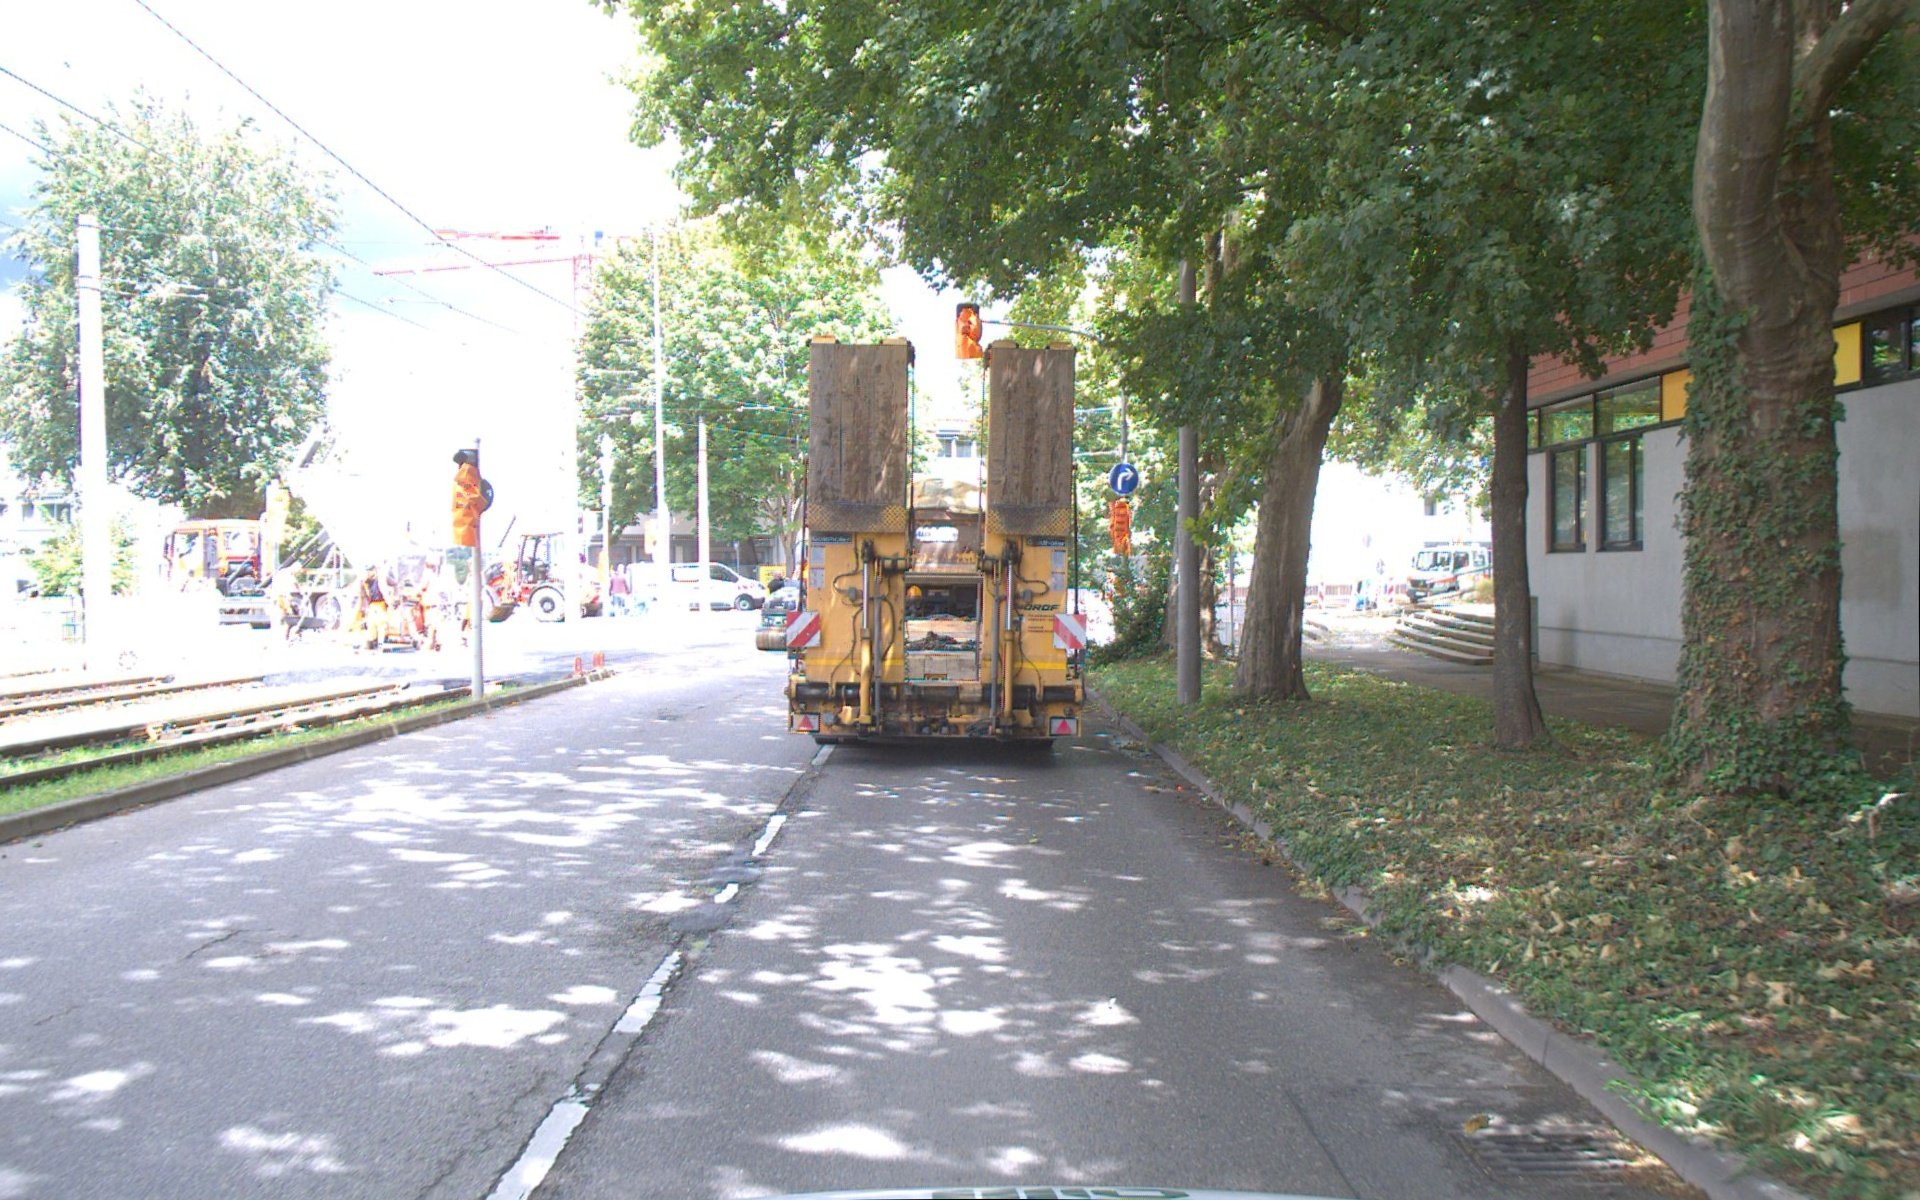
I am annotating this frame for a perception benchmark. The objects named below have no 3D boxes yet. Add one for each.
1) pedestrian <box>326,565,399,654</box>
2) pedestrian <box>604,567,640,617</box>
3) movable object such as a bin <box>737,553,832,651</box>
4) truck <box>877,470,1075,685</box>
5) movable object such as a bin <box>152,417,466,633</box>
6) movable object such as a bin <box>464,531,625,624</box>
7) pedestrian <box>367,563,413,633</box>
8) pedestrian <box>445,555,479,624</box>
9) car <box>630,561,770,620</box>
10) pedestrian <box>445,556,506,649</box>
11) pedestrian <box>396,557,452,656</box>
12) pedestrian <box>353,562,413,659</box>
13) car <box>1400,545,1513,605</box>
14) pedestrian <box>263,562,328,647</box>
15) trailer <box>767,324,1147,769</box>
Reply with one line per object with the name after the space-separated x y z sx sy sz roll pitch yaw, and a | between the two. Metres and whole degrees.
-11.911 0.175 32.957 0.873 1.745 1.102 1 0 45 | pedestrian
-9.891 -0.243 48.385 0.898 1.433 0.752 1 0 -3 | pedestrian
-3.796 0.024 36.090 1.369 2.049 2.558 1 0 10 | movable object such as a bin
0.341 -0.362 28.615 2.927 3.190 7.889 0 0 1 | truck
-17.962 -1.968 45.451 9.021 5.509 2.661 0 0 26 | movable object such as a bin
-12.463 -0.678 49.669 4.281 2.675 2.218 0 0 26 | movable object such as a bin
-13.682 -0.050 39.725 0.869 1.673 0.898 1 0 -8 | pedestrian
-13.924 -0.291 46.234 0.820 1.900 0.885 0 0 -12 | pedestrian
-9.765 -0.345 62.044 5.004 2.139 1.969 0 0 -15 | car
-10.100 0.039 34.498 0.868 1.900 0.836 1 0 28 | pedestrian
-10.443 0.117 32.221 0.876 1.900 0.829 0 0 -29 | pedestrian
-10.834 0.197 31.094 0.868 1.791 0.836 1 0 -5 | pedestrian
20.293 -1.003 67.577 4.191 2.406 2.139 0 0 -28 | car
-13.371 0.077 33.280 0.819 1.673 0.886 1 0 31 | pedestrian
0.101 -0.474 19.101 3.089 3.614 11.099 0 0 1 | trailer
